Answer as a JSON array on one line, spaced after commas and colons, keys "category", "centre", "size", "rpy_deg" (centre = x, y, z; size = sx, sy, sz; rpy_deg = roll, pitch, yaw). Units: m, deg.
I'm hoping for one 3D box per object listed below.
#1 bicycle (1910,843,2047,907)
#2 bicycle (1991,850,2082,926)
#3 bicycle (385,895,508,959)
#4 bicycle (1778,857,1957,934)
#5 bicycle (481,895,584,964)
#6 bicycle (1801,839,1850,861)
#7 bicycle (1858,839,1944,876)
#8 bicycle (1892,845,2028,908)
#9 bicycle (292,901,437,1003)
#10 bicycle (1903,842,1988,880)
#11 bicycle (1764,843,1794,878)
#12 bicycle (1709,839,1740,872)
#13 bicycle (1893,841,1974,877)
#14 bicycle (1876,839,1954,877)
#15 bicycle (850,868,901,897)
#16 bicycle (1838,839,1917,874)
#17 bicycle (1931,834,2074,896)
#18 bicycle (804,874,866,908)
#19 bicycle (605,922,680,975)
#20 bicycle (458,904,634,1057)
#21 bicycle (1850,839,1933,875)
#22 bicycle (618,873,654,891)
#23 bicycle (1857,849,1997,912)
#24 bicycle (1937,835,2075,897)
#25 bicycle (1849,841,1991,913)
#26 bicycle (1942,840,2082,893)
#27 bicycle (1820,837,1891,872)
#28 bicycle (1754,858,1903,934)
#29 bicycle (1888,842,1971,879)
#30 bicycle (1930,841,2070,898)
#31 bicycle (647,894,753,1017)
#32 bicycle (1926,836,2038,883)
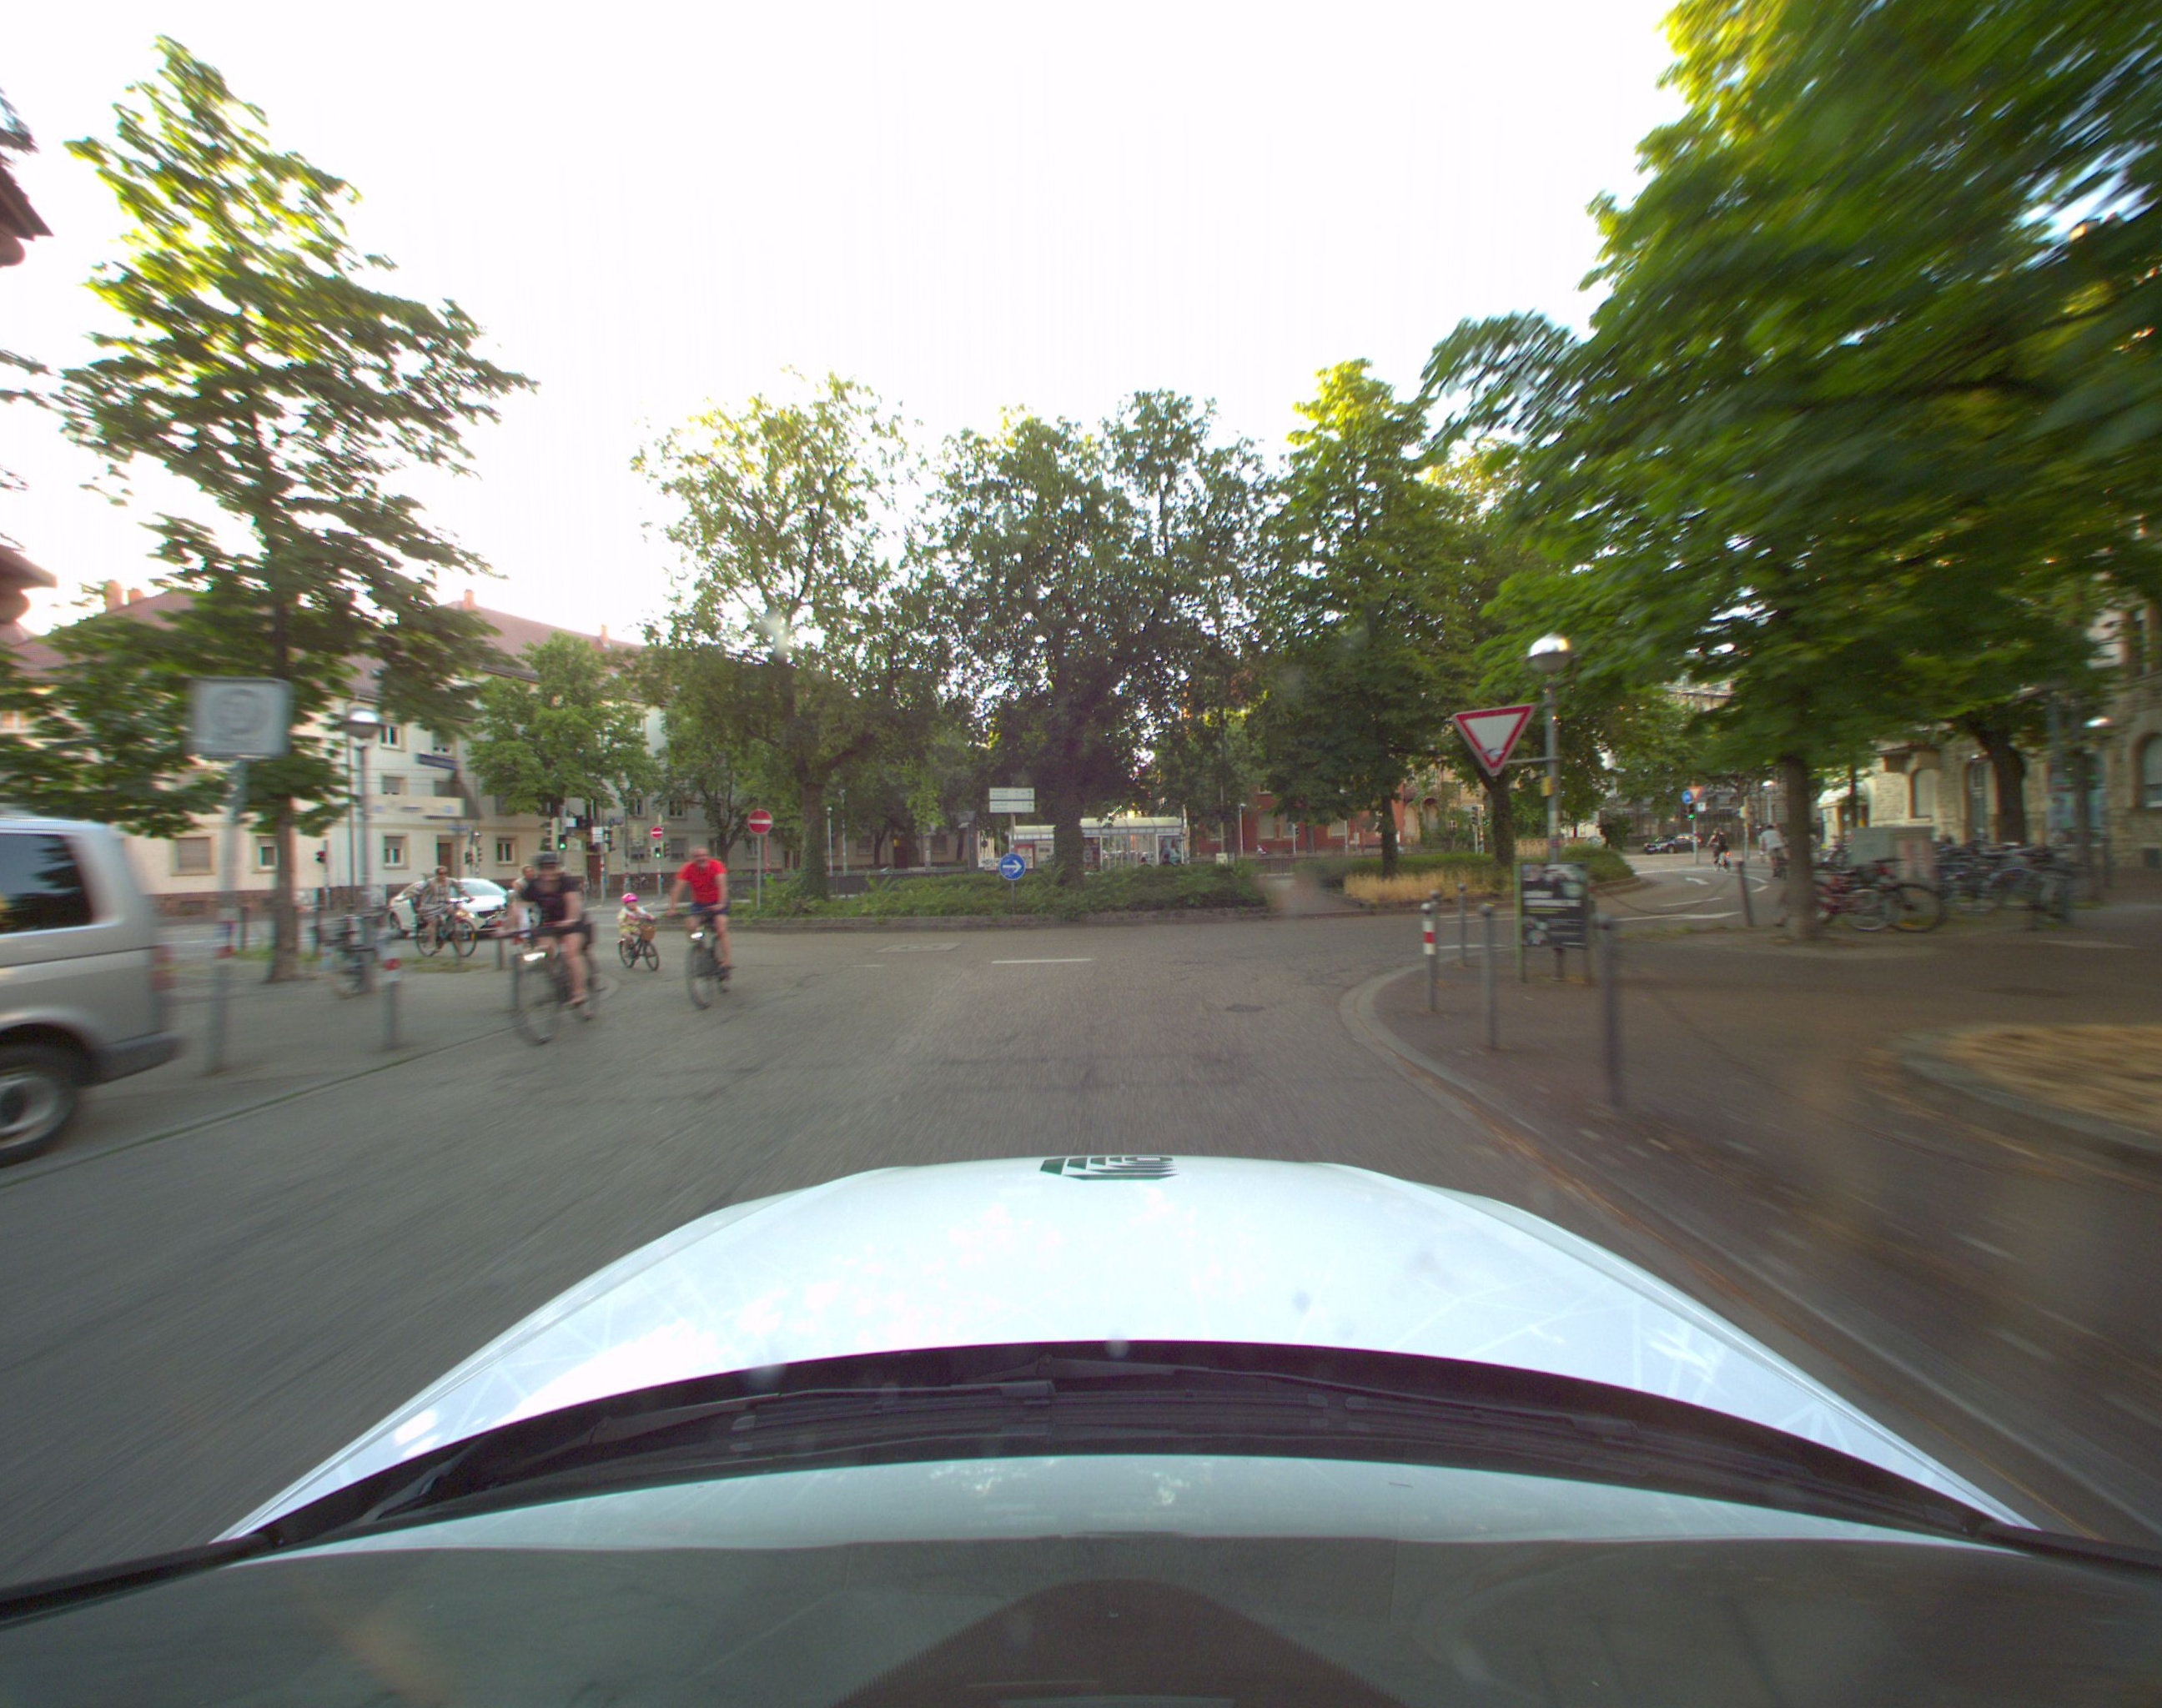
[{"category": "bicycle", "centre": [16.017, 0.370, 14.572], "size": [0.421, 1.076, 1.590], "rpy_deg": [-1, 0, -36]}, {"category": "bicycle", "centre": [13.461, 0.461, 11.462], "size": [1.731, 0.969, 0.428], "rpy_deg": [-2, 0, -27]}, {"category": "bicycle", "centre": [-12.066, 1.378, 15.512], "size": [1.795, 1.094, 0.686], "rpy_deg": [-2, 0, 3]}, {"category": "bicycle", "centre": [11.576, 0.579, 12.078], "size": [0.432, 1.039, 1.886], "rpy_deg": [-2, 0, -20]}, {"category": "bicycle", "centre": [-9.646, 1.285, 14.298], "size": [2.021, 1.094, 0.734], "rpy_deg": [-2, 0, 32]}, {"category": "bicycle", "centre": [39.945, -0.218, 43.724], "size": [1.854, 1.130, 0.736], "rpy_deg": [-2, 0, 34]}, {"category": "bicycle", "centre": [27.303, 0.108, 27.153], "size": [1.867, 1.162, 0.709], "rpy_deg": [-2, 0, 30]}, {"category": "bicycle", "centre": [15.603, 0.395, 14.495], "size": [0.421, 1.063, 1.590], "rpy_deg": [-1, 0, -36]}, {"category": "bicycle", "centre": [-9.071, 1.190, 10.402], "size": [0.559, 1.083, 1.791], "rpy_deg": [0, 0, -11]}, {"category": "bicycle", "centre": [25.747, 0.209, 24.288], "size": [1.654, 1.078, 0.489], "rpy_deg": [-2, 0, 28]}, {"category": "bicycle", "centre": [22.446, 0.199, 26.191], "size": [0.691, 1.055, 1.804], "rpy_deg": [-2, 0, 41]}, {"category": "bicycle", "centre": [24.678, 0.039, 31.250], "size": [0.691, 1.236, 1.875], "rpy_deg": [-2, 0, 32]}, {"category": "bicycle", "centre": [26.695, 0.166, 25.525], "size": [1.653, 1.078, 0.489], "rpy_deg": [-2, 0, 36]}, {"category": "bicycle", "centre": [26.573, 0.139, 25.980], "size": [1.653, 1.127, 0.489], "rpy_deg": [-2, 6, 37]}, {"category": "bicycle", "centre": [-8.039, 1.092, 31.872], "size": [1.856, 1.051, 0.543], "rpy_deg": [-2, 0, -21]}, {"category": "bicycle", "centre": [27.894, 0.095, 28.551], "size": [1.870, 1.162, 0.644], "rpy_deg": [-2, 0, 19]}, {"category": "bicycle", "centre": [18.911, 0.232, 16.780], "size": [0.555, 1.200, 1.898], "rpy_deg": [-1, 0, -42]}, {"category": "bicycle", "centre": [-9.089, 1.345, 30.130], "size": [2.117, 1.151, 0.681], "rpy_deg": [-2, 0, -22]}, {"category": "bicycle", "centre": [-6.639, 1.401, 12.305], "size": [0.655, 0.642, 1.446], "rpy_deg": [-2, 0, -42]}, {"category": "bicycle", "centre": [-4.958, 1.102, 7.723], "size": [0.722, 1.107, 2.005], "rpy_deg": [-2, 0, -13]}, {"category": "bicycle", "centre": [27.659, 0.098, 27.832], "size": [1.867, 1.162, 0.644], "rpy_deg": [-2, 0, 30]}, {"category": "bicycle", "centre": [-29.421, 1.841, 53.845], "size": [0.677, 1.151, 1.932], "rpy_deg": [-2, 0, 35]}, {"category": "bicycle", "centre": [14.715, 0.447, 14.209], "size": [0.557, 1.020, 1.591], "rpy_deg": [-2, 0, -32]}, {"category": "bicycle", "centre": [18.399, 0.238, 16.243], "size": [0.450, 1.168, 1.775], "rpy_deg": [-1, 0, -40]}, {"category": "bicycle", "centre": [14.340, 0.386, 13.967], "size": [0.557, 1.148, 1.591], "rpy_deg": [-2, 0, -32]}, {"category": "bicycle", "centre": [19.553, 0.266, 17.165], "size": [0.555, 1.065, 1.898], "rpy_deg": [-1, 0, -42]}, {"category": "bicycle", "centre": [28.978, 0.015, 30.497], "size": [1.772, 1.236, 0.703], "rpy_deg": [-2, 0, 19]}, {"category": "bicycle", "centre": [11.137, 0.597, 12.200], "size": [0.432, 1.039, 1.597], "rpy_deg": [-2, 0, -20]}, {"category": "bicycle", "centre": [25.835, 0.197, 24.830], "size": [1.654, 1.078, 0.489], "rpy_deg": [-2, 0, 28]}, {"category": "bicycle", "centre": [18.044, 0.306, 16.035], "size": [0.450, 1.063, 1.775], "rpy_deg": [-1, 0, -40]}, {"category": "bicycle", "centre": [-4.201, 1.054, 9.120], "size": [0.650, 1.107, 2.005], "rpy_deg": [-2, 0, -13]}, {"category": "bicycle", "centre": [23.160, 0.135, 20.989], "size": [1.861, 1.139, 0.495], "rpy_deg": [0, 4, 33]}]
